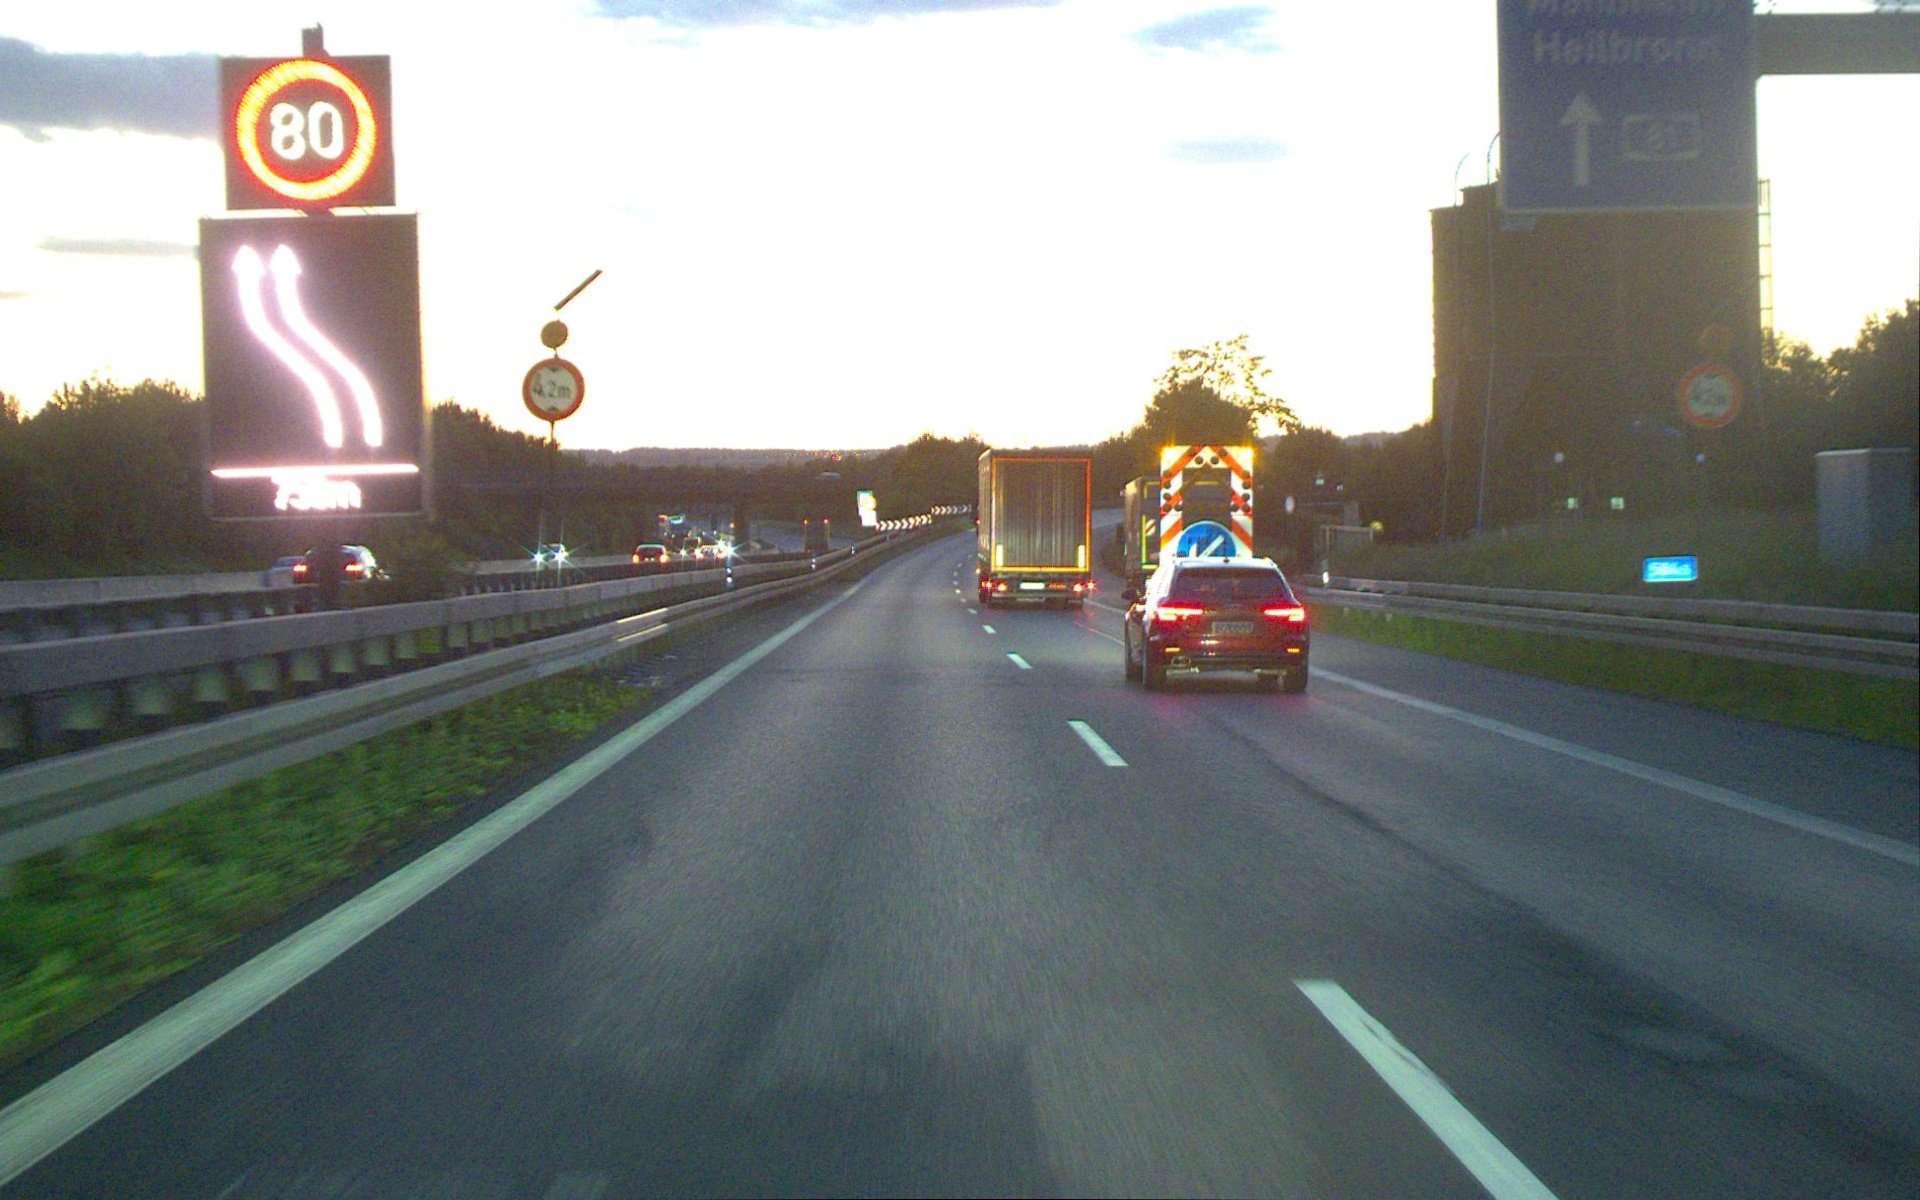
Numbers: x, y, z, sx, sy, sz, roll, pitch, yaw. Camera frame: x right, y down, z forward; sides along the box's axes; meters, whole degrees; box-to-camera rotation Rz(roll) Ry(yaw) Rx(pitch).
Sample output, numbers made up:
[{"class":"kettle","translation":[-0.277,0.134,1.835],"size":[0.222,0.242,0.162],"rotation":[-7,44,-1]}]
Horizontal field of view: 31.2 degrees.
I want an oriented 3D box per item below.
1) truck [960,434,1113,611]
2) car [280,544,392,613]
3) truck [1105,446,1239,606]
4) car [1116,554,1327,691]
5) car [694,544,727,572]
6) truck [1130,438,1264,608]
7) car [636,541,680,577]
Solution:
[{"class":"truck","translation":[1.897,-1.978,90.340],"size":[3.509,4.286,9.892],"rotation":[-2,1,-1]},{"class":"car","translation":[-14.857,-0.533,82.041],"size":[1.872,1.556,4.520],"rotation":[-2,1,-1]},{"class":"truck","translation":[5.619,-1.978,92.692],"size":[2.913,4.097,9.150],"rotation":[0,1,-1]},{"class":"car","translation":[2.847,0.215,38.249],"size":[1.915,1.437,4.000],"rotation":[0,1,-2]},{"class":"car","translation":[-14.413,-2.413,198.795],"size":[1.638,1.541,3.395],"rotation":[-2,1,0]},{"class":"truck","translation":[5.785,-1.885,84.848],"size":[2.787,4.045,6.412],"rotation":[0,1,-1]},{"class":"car","translation":[-14.145,-1.924,160.945],"size":[1.713,1.600,3.722],"rotation":[-2,1,-1]}]
